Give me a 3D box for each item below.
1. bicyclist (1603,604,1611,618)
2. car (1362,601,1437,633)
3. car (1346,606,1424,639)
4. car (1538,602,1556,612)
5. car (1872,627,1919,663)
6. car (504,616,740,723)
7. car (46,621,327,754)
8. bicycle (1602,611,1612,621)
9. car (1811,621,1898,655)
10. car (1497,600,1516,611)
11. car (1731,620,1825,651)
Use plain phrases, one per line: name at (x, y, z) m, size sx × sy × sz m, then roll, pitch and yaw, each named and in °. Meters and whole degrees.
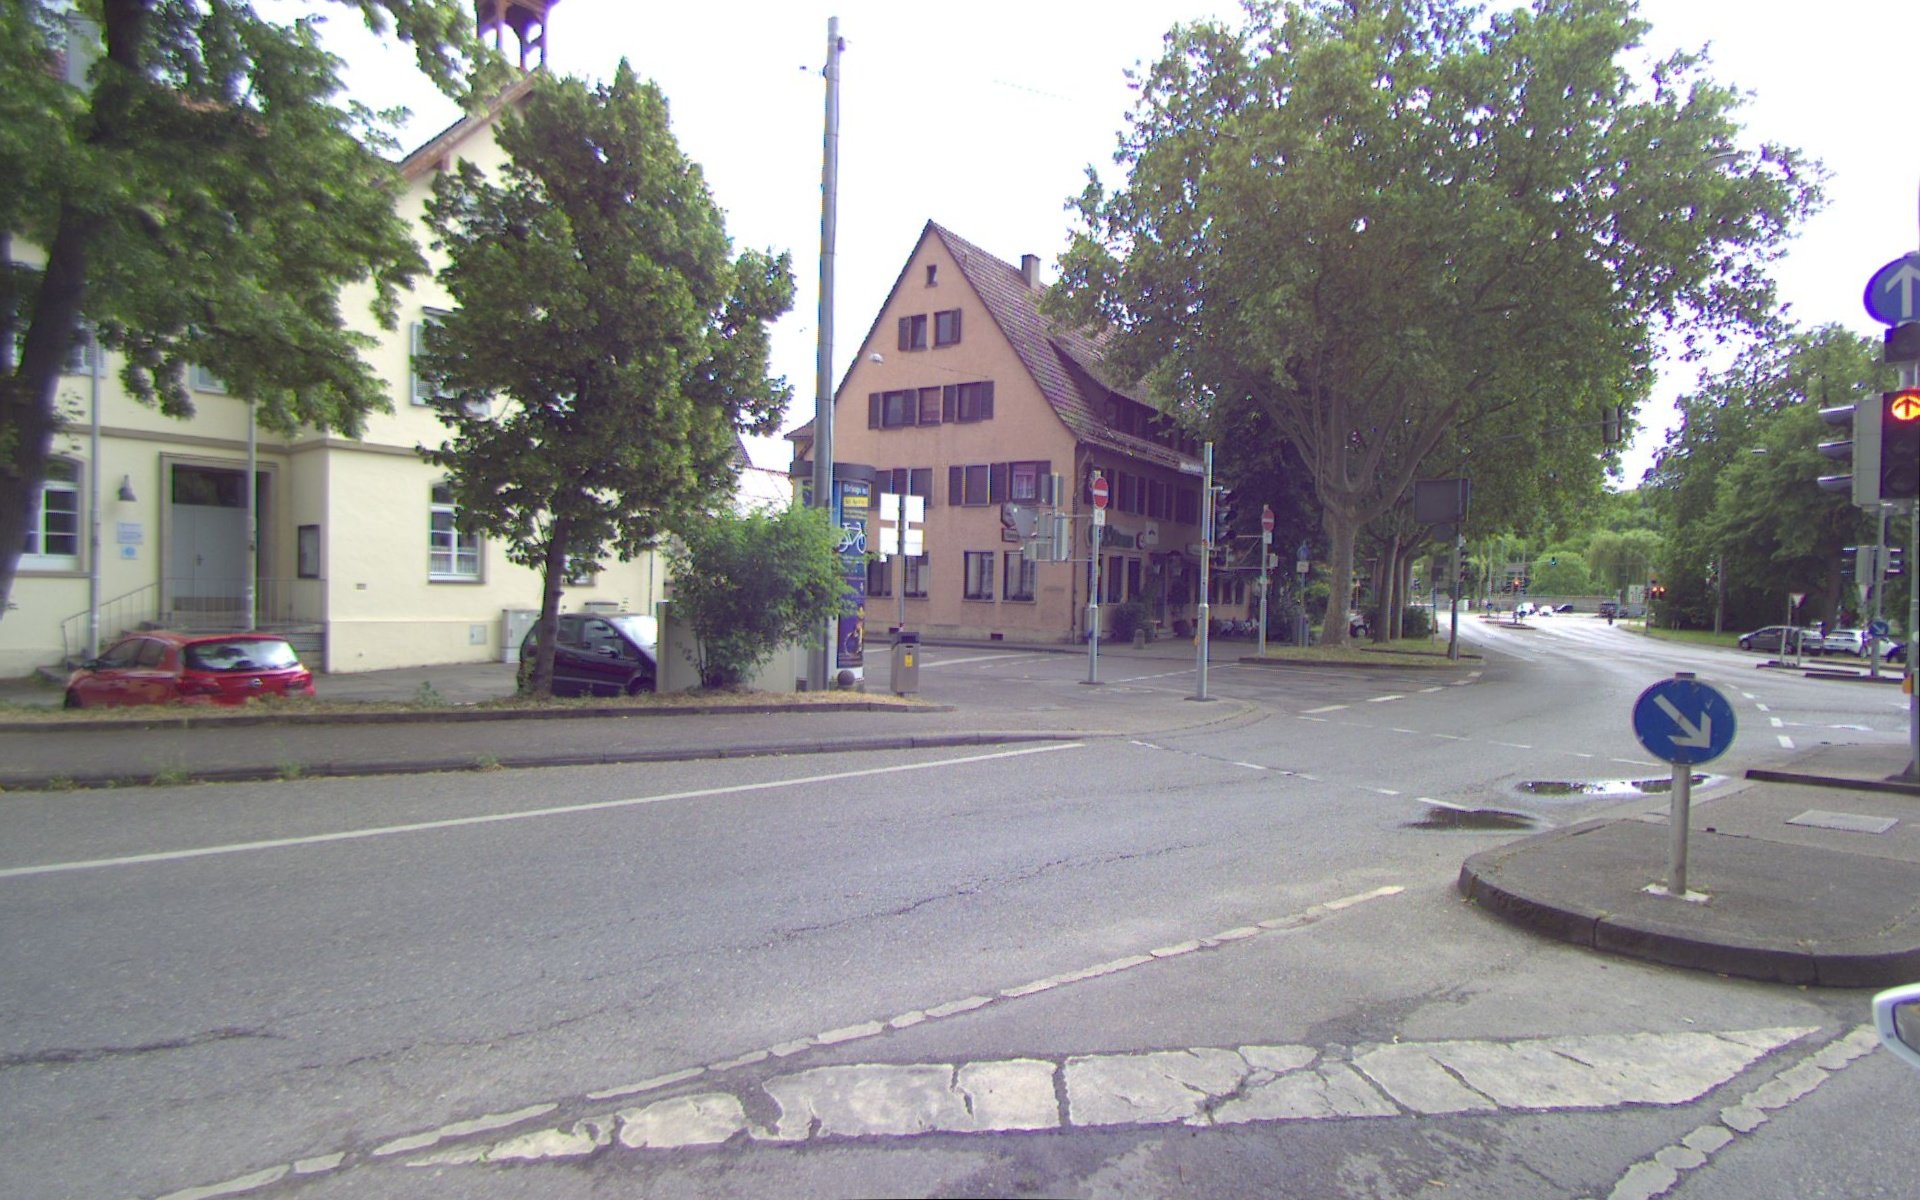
bicyclist at (64.299, 1.099, 99.811) m, size 0.533 × 1.359 × 0.710 m, roll 2°, pitch 0°, yaw 41°
car at (25.727, 1.003, 58.786) m, size 3.924 × 1.706 × 1.998 m, roll 1°, pitch 0°, yaw 25°
car at (23.995, 1.247, 56.710) m, size 3.924 × 1.706 × 1.998 m, roll 1°, pitch 0°, yaw 25°
car at (90.869, 1.073, 155.479) m, size 1.469 × 1.436 × 3.028 m, roll 3°, pitch 0°, yaw 12°
car at (39.445, 1.855, 40.768) m, size 1.746 × 1.370 × 3.326 m, roll 2°, pitch 0°, yaw -2°
car at (-5.532, 1.055, 16.443) m, size 3.507 × 1.459 × 1.644 m, roll 2°, pitch 0°, yaw 26°
car at (-10.275, 1.052, 13.307) m, size 3.653 × 1.401 × 1.659 m, roll 2°, pitch 0°, yaw 30°
bicycle at (64.363, 1.612, 99.905) m, size 0.550 × 0.971 × 2.023 m, roll 2°, pitch 0°, yaw 41°
car at (47.460, 2.032, 53.330) m, size 3.696 × 1.662 × 1.859 m, roll 2°, pitch 0°, yaw -19°
car at (85.303, 0.873, 156.804) m, size 1.553 × 1.506 × 3.337 m, roll 3°, pitch 0°, yaw 12°
car at (43.816, 1.871, 53.911) m, size 1.592 × 1.485 × 3.778 m, roll 2°, pitch 0°, yaw -11°
